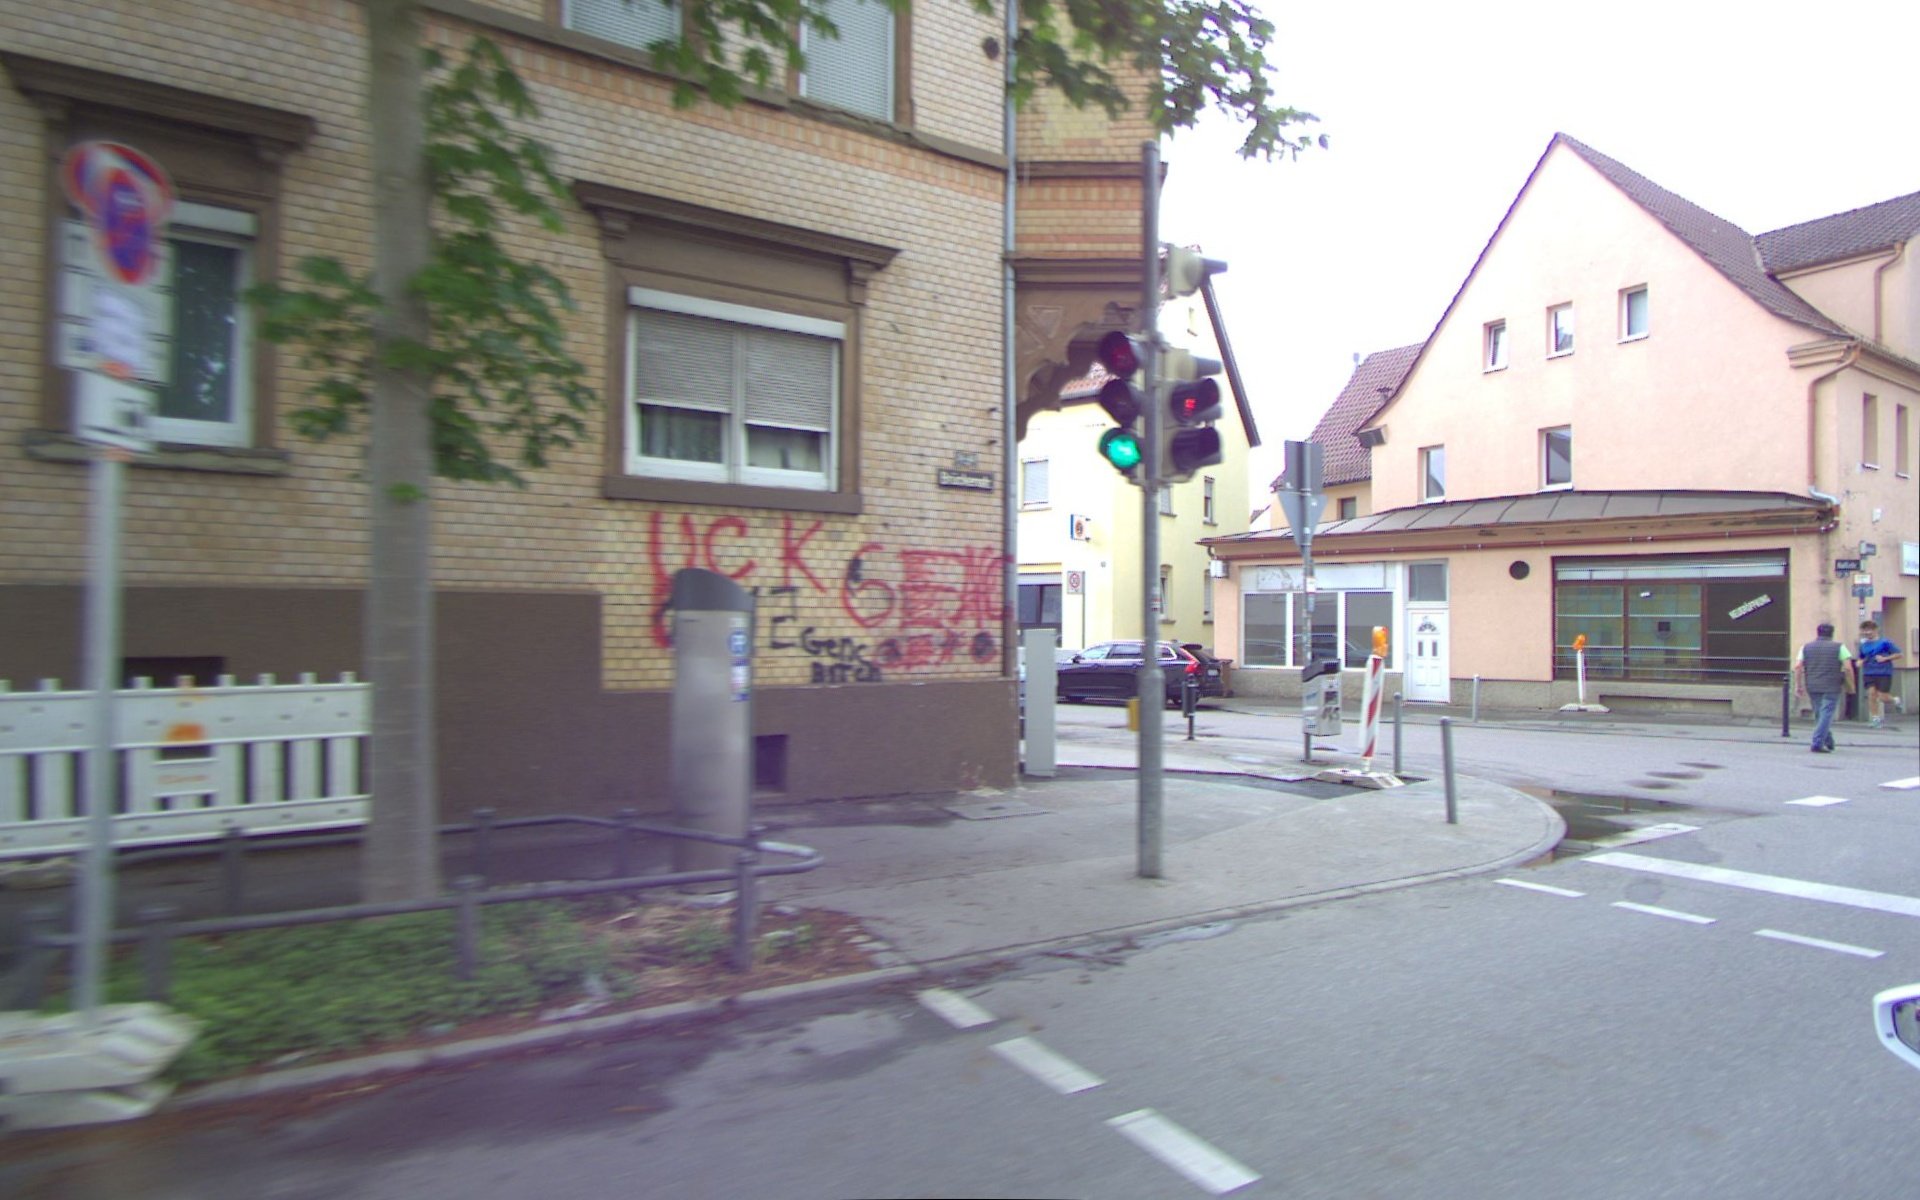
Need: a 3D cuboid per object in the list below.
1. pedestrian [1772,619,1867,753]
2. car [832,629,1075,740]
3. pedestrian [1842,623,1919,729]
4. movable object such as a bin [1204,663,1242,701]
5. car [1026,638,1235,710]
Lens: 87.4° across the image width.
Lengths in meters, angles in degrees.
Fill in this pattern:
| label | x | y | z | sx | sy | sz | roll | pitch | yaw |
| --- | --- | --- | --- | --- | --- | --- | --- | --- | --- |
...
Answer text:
| label | x | y | z | sx | sy | sz | roll | pitch | yaw |
| --- | --- | --- | --- | --- | --- | --- | --- | --- | --- |
| pedestrian | 11.917 | 1.159 | 13.932 | 0.972 | 1.777 | 0.735 | 2 | -1 | -32 |
| car | -0.160 | 1.283 | 16.330 | 3.665 | 1.571 | 1.768 | -1 | -2 | 39 |
| pedestrian | 15.805 | 1.278 | 17.236 | 1.144 | 1.741 | 0.734 | 2 | -1 | -33 |
| movable object such as a bin | 6.377 | 1.982 | 24.395 | 0.562 | 0.890 | 0.723 | 2 | -3 | -29 |
| car | 3.812 | 1.600 | 22.769 | 4.320 | 1.462 | 1.904 | -1 | -3 | 38 |
